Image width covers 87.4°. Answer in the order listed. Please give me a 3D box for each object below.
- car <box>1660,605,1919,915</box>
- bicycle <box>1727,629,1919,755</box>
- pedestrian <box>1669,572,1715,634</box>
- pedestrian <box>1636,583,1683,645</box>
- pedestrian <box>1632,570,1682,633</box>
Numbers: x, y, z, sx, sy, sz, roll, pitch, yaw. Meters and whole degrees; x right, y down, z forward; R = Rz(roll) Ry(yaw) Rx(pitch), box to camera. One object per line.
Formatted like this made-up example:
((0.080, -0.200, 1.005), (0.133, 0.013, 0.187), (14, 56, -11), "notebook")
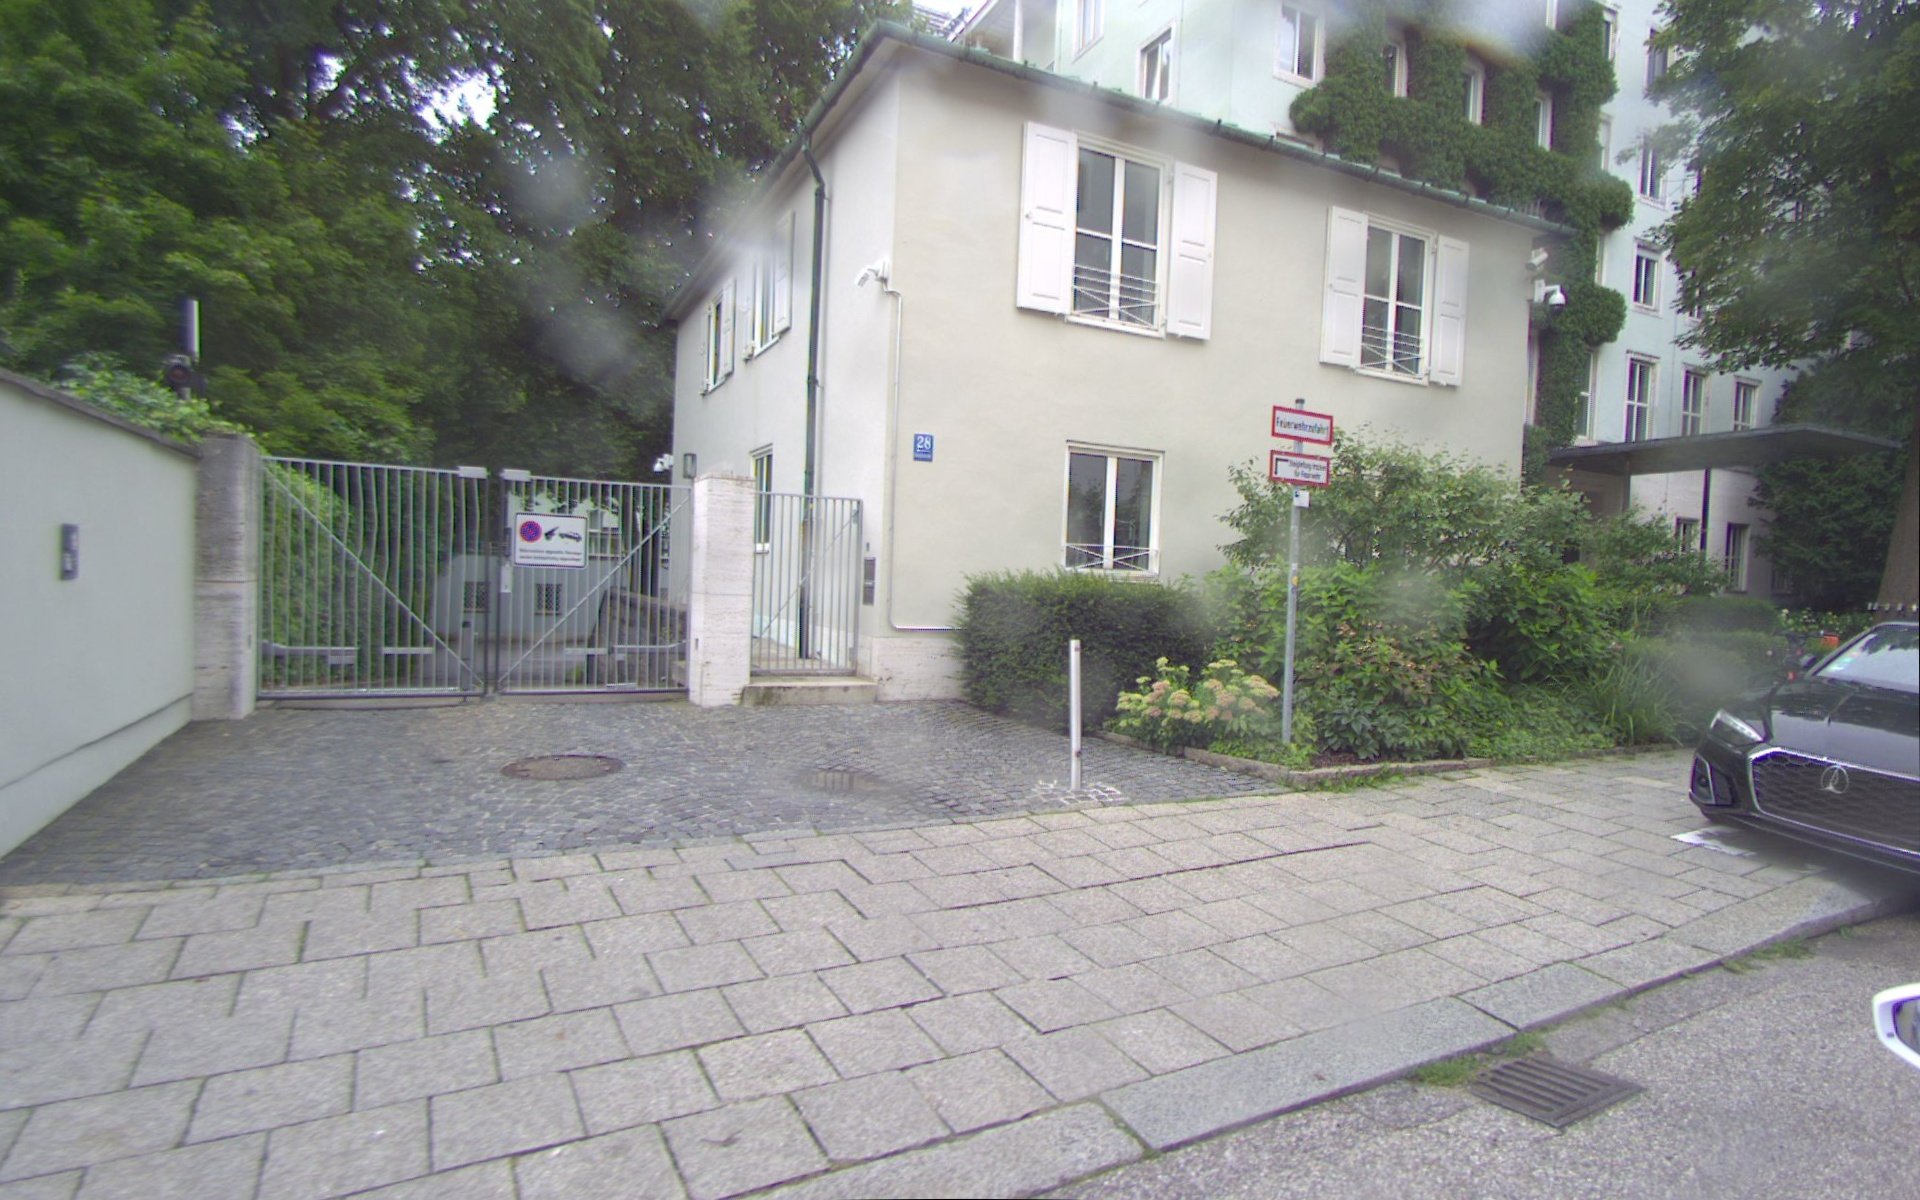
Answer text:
((6.593, 0.852, 6.296), (4.869, 1.421, 1.797), (2, 3, -32), "car")
((8.680, 0.894, 10.054), (2.018, 1.145, 0.648), (2, 1, -23), "bicycle")
((21.851, 0.092, 30.002), (0.891, 1.776, 0.746), (3, 1, -31), "pedestrian")
((20.639, 0.419, 29.645), (0.891, 1.776, 0.746), (3, 1, -31), "pedestrian")
((20.107, 0.038, 28.993), (0.744, 1.776, 0.894), (1, 2, -30), "pedestrian")
